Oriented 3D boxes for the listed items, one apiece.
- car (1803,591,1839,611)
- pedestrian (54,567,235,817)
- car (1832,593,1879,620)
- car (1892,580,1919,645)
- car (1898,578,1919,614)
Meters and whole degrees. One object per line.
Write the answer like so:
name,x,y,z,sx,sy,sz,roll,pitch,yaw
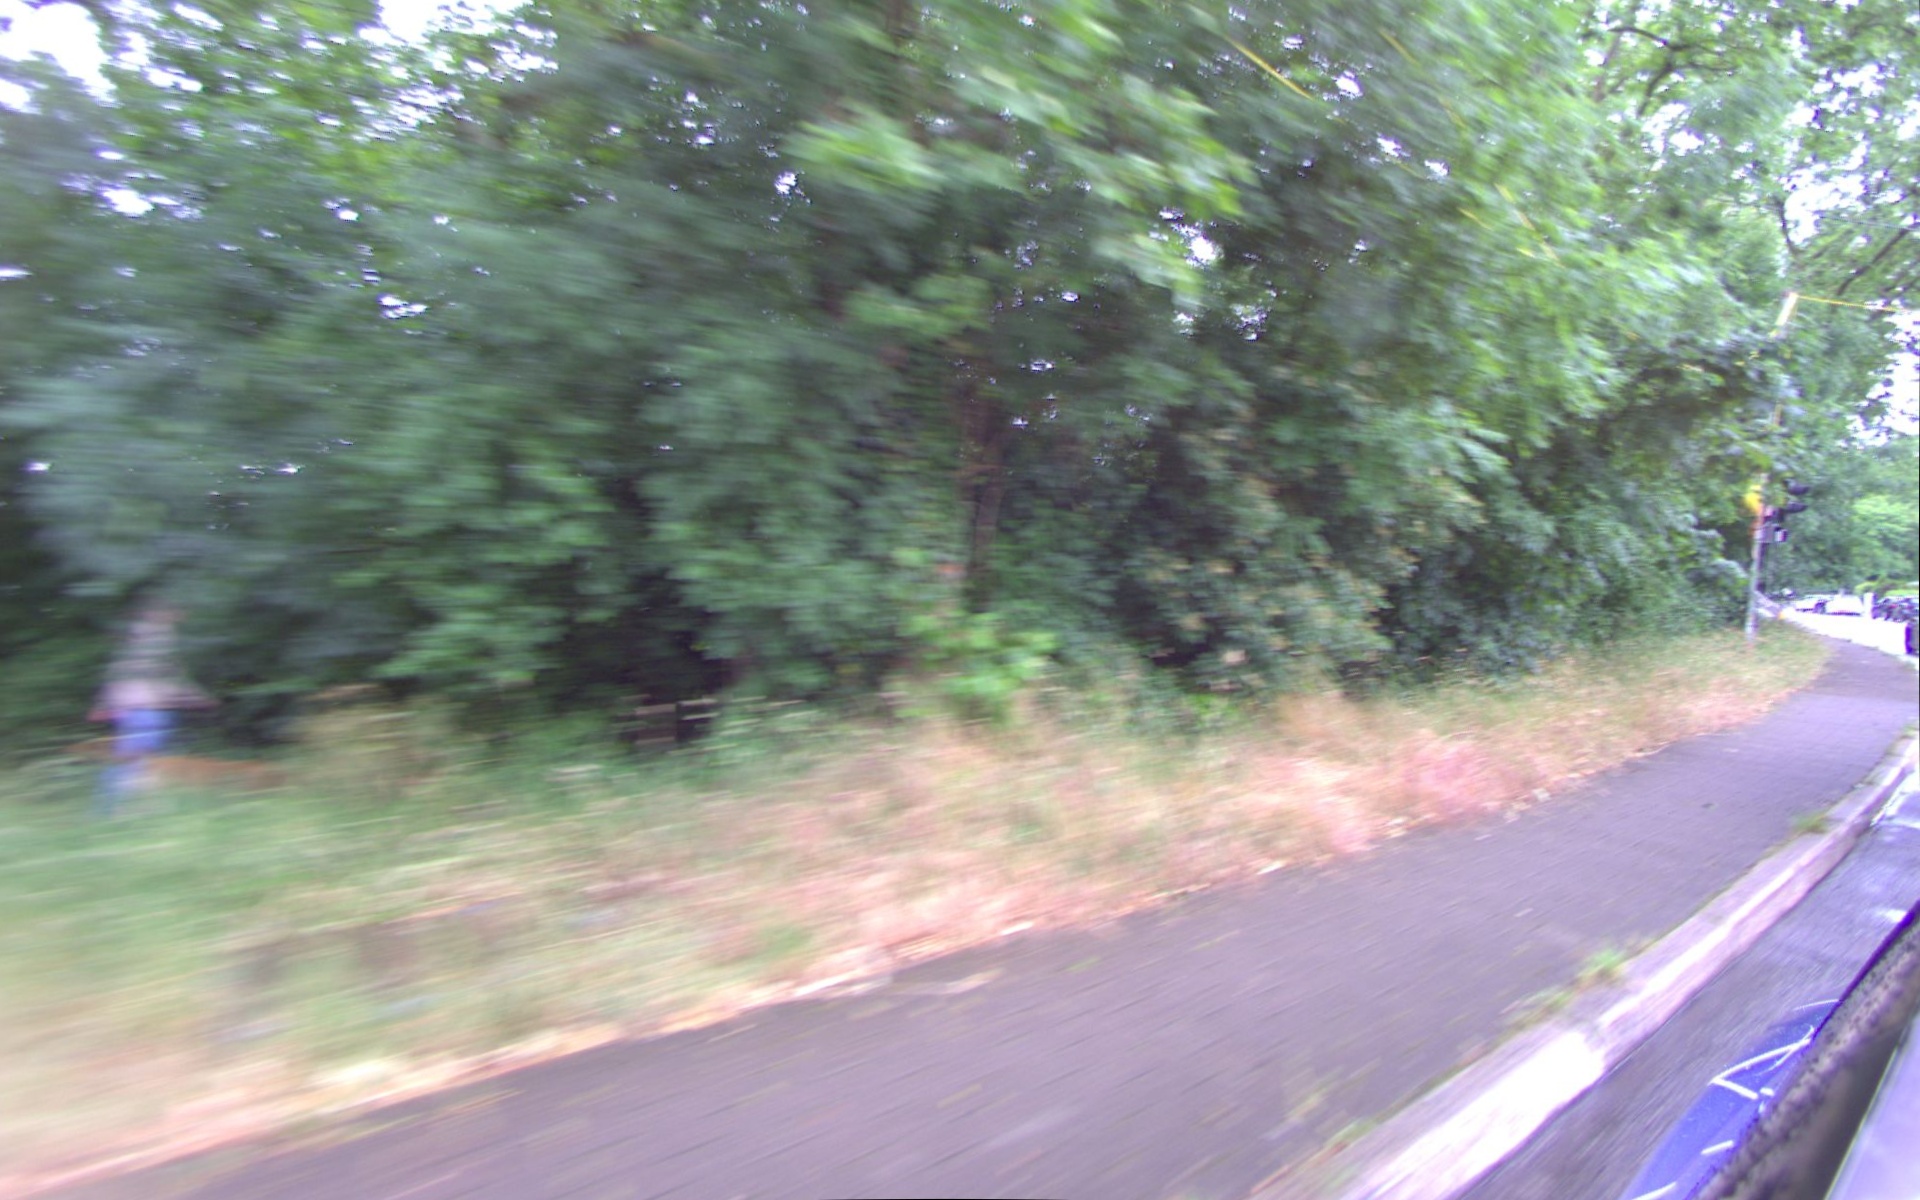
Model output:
car,69.746,0.090,82.006,1.753,1.547,3.548,0,1,34
pedestrian,-5.689,0.594,7.079,0.725,1.624,0.746,0,0,25
car,64.998,0.443,73.523,1.986,1.884,4.308,0,1,34
car,25.343,0.351,26.263,1.664,1.610,3.943,-1,-2,42
car,54.894,-0.253,57.317,1.986,2.039,3.952,0,0,34
